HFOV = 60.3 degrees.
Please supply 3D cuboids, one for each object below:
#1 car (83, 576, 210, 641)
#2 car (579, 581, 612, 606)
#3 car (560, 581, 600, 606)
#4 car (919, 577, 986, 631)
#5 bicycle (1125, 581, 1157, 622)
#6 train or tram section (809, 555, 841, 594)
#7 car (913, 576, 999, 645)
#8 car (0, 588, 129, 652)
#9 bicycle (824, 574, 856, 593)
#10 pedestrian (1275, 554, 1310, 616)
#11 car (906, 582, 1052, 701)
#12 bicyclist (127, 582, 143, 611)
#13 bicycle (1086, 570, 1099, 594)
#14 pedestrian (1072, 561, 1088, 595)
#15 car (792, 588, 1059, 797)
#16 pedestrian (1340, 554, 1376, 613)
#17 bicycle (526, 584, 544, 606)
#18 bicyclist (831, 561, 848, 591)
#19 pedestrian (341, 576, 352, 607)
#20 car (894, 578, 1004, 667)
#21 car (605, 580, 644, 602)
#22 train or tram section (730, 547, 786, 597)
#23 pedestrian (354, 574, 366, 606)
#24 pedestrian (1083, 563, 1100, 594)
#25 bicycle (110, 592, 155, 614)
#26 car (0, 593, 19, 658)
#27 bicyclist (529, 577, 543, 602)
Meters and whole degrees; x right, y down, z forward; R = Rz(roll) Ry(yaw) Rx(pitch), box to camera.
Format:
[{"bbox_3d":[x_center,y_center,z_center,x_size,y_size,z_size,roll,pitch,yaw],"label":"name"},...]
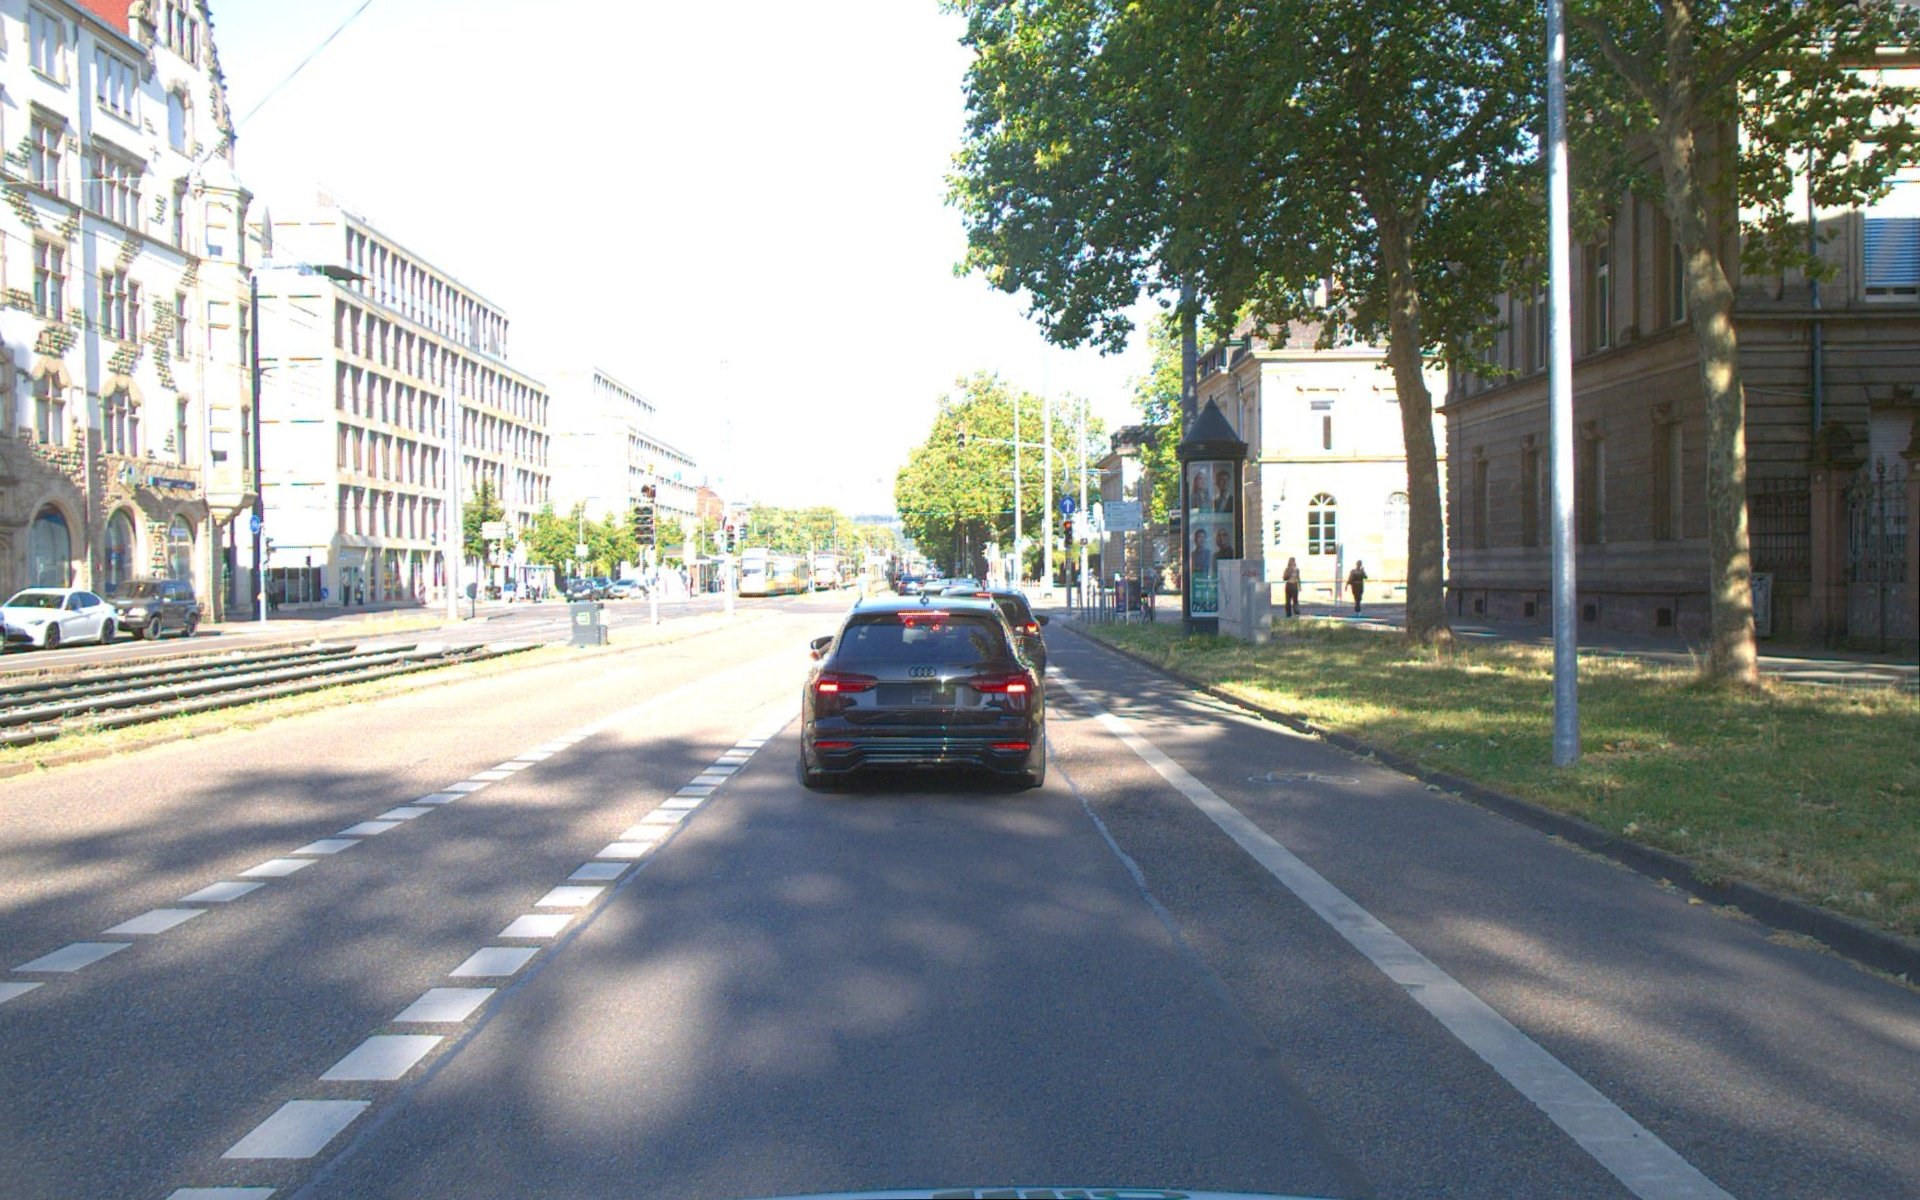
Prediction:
[{"bbox_3d":[-23.147,0.199,47.230,1.682,1.704,4.215,1,1,-3],"label":"car"},{"bbox_3d":[-28.585,-0.541,129.833,1.805,1.844,4.111,-1,1,-2],"label":"car"},{"bbox_3d":[-24.534,-0.428,106.885,1.784,1.482,4.163,-1,1,-3],"label":"car"},{"bbox_3d":[-0.223,0.078,48.328,1.864,1.512,4.144,0,1,-1],"label":"car"},{"bbox_3d":[4.913,0.037,44.944,0.529,1.080,1.770,-1,1,-5],"label":"bicycle"},{"bbox_3d":[-12.683,-2.441,156.455,2.556,3.511,11.127,-1,1,-3],"label":"train or tram section"},{"bbox_3d":[-0.110,0.203,38.183,1.864,1.512,4.144,0,1,-1],"label":"car"},{"bbox_3d":[-22.952,0.462,41.822,1.682,1.448,4.654,1,1,-3],"label":"car"},{"bbox_3d":[-7.612,-1.039,104.596,1.997,1.127,0.752,-2,1,-44],"label":"bicycle"},{"bbox_3d":[9.422,-0.431,46.895,0.753,1.739,1.042,-1,1,0],"label":"pedestrian"},{"bbox_3d":[0.220,0.512,23.177,1.864,1.512,4.144,0,1,-1],"label":"car"},{"bbox_3d":[-48.755,-0.195,97.714,0.628,1.715,0.577,-1,1,-2],"label":"bicyclist"},{"bbox_3d":[6.604,-0.903,82.492,0.426,1.165,1.340,-1,1,-3],"label":"bicycle"},{"bbox_3d":[5.990,-1.087,82.450,0.668,1.689,0.758,-1,1,-3],"label":"pedestrian"},{"bbox_3d":[-0.263,0.632,13.622,1.864,1.446,4.144,0,1,-1],"label":"car"},{"bbox_3d":[11.242,-0.472,46.683,0.753,1.634,0.986,-1,1,0],"label":"pedestrian"},{"bbox_3d":[-27.598,-0.338,107.408,0.671,1.406,1.947,-1,1,0],"label":"bicycle"},{"bbox_3d":[-7.603,-1.512,104.599,0.753,1.850,0.752,-2,1,-44],"label":"bicyclist"},{"bbox_3d":[-36.399,-0.500,98.118,0.469,1.875,0.437,-2,1,-39],"label":"pedestrian"},{"bbox_3d":[-0.210,0.354,30.251,1.864,1.512,4.144,0,1,-1],"label":"car"},{"bbox_3d":[-24.272,-0.677,119.879,1.782,1.482,4.541,-1,1,1],"label":"car"},{"bbox_3d":[-15.261,-2.095,125.896,2.756,3.550,13.201,-1,1,-1],"label":"train or tram section"},{"bbox_3d":[-35.671,-0.599,98.393,0.527,1.875,0.437,-2,1,-39],"label":"pedestrian"},{"bbox_3d":[8.292,-1.361,104.194,0.959,1.898,0.826,-1,1,-2],"label":"pedestrian"},{"bbox_3d":[-48.873,0.184,97.703,2.333,1.236,0.577,-1,1,-2],"label":"bicycle"},{"bbox_3d":[-22.577,0.603,36.263,1.675,1.455,4.221,1,1,-4],"label":"car"},{"bbox_3d":[-27.538,-0.690,107.387,0.671,1.590,0.785,-1,1,0],"label":"bicyclist"}]
